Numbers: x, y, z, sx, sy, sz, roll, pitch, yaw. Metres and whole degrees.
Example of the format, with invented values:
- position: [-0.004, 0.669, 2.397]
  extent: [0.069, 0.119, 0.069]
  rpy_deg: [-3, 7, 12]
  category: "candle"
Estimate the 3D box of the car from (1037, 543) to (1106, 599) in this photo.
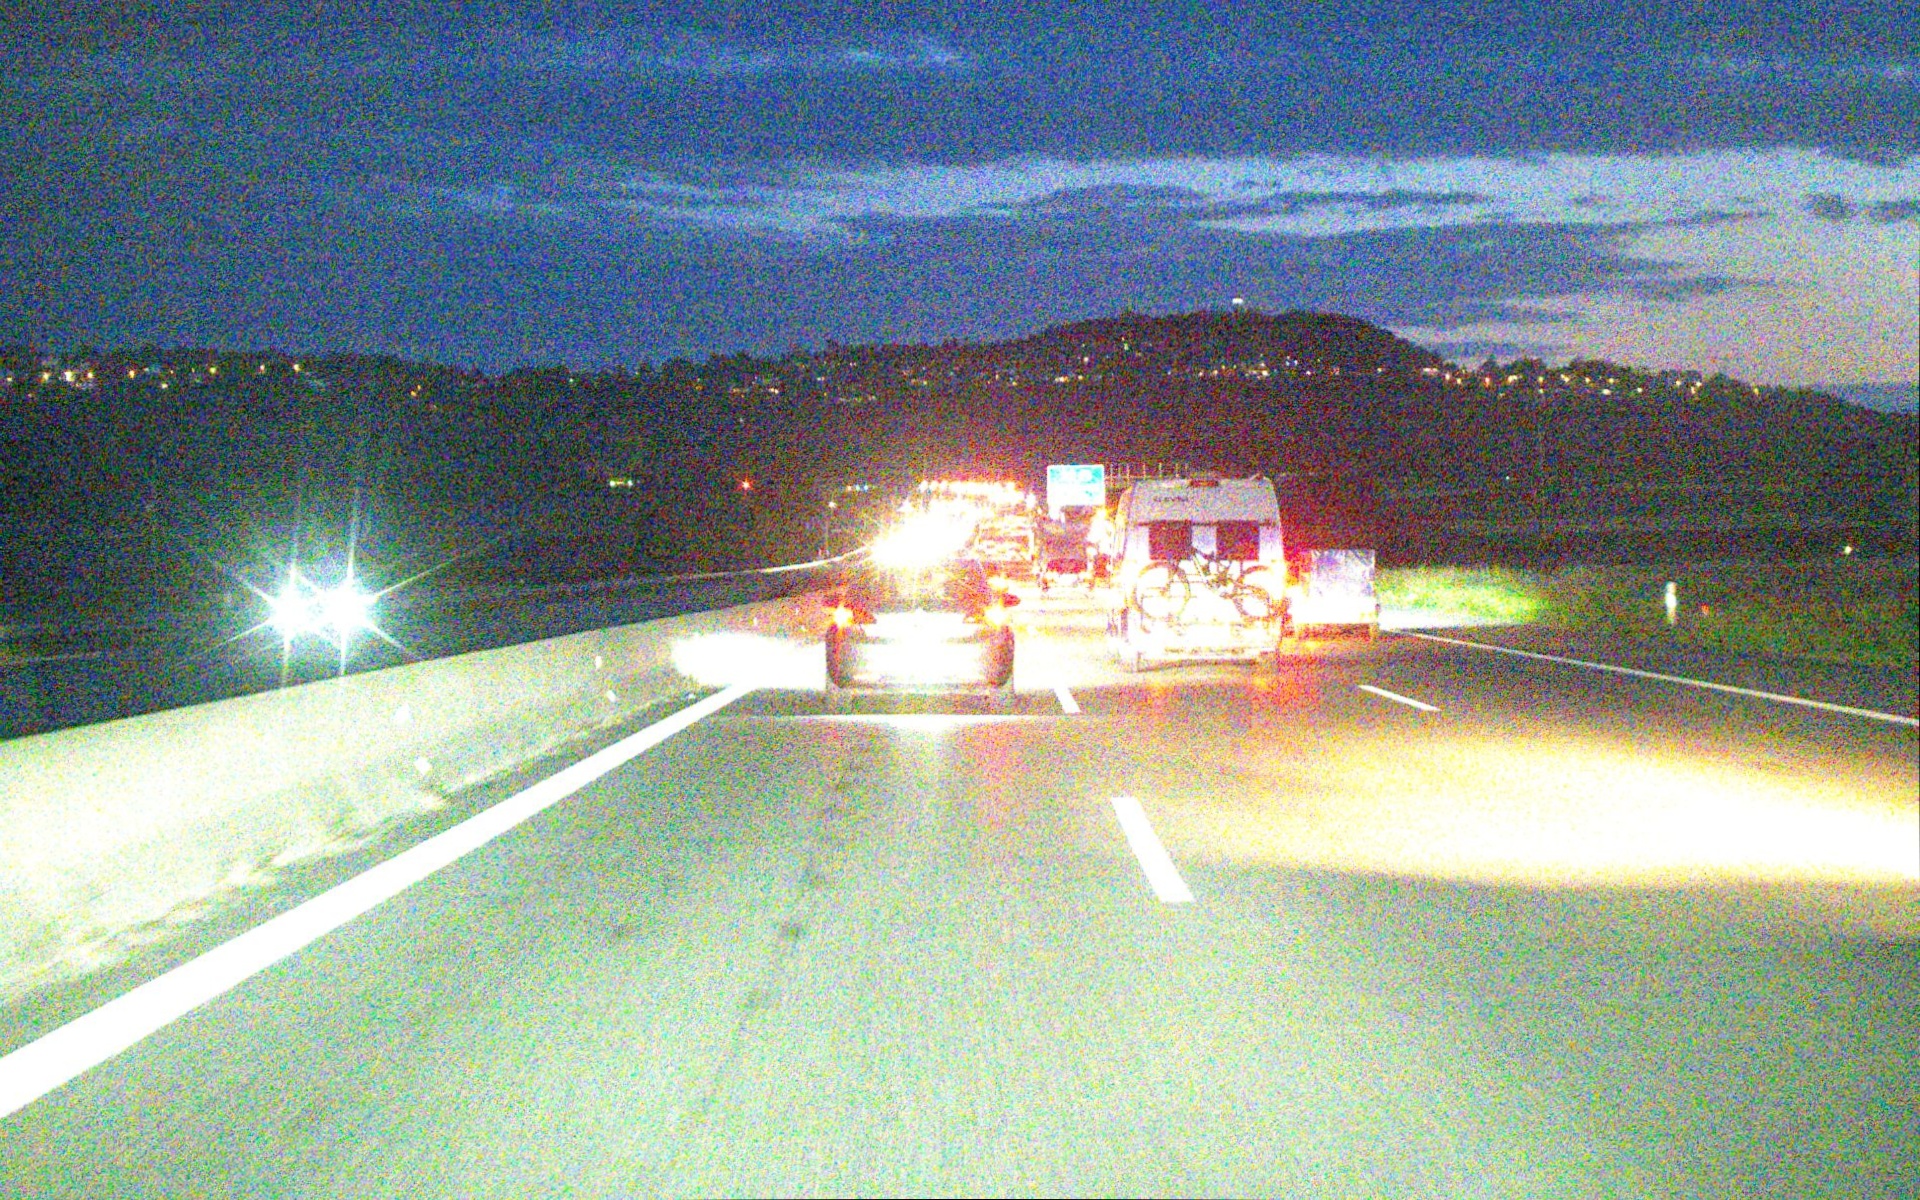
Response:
- position: [3.927, -1.037, 121.734]
  extent: [2.351, 1.907, 4.723]
  rpy_deg: [-1, 1, 1]
  category: "car"

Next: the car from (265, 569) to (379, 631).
- position: [-16.152, -0.017, 87.255]
  extent: [1.993, 1.414, 4.983]
  rpy_deg: [-3, 1, -1]
  category: "car"

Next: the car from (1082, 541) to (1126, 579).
- position: [8.187, -2.297, 195.870]
  extent: [2.351, 2.068, 4.723]
  rpy_deg: [-1, 1, 1]
  category: "car"

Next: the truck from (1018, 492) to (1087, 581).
- position: [4.222, -2.920, 158.165]
  extent: [2.781, 3.942, 7.993]
  rpy_deg: [-1, 1, -1]
  category: "truck"

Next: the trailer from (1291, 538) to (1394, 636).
- position: [6.767, -0.246, 60.979]
  extent: [1.566, 1.687, 2.821]
  rpy_deg: [-1, 1, 2]
  category: "trailer"

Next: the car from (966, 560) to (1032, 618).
- position: [1.080, -0.315, 93.703]
  extent: [1.745, 1.435, 4.367]
  rpy_deg: [-1, 1, 1]
  category: "car"

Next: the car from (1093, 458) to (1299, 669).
- position: [2.994, -0.509, 44.872]
  extent: [2.351, 2.526, 5.701]
  rpy_deg: [-1, 1, 1]
  category: "car"

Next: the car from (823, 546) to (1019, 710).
- position: [-0.330, 0.229, 33.367]
  extent: [1.793, 1.464, 3.773]
  rpy_deg: [0, 1, 1]
  category: "car"

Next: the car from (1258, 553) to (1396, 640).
- position: [6.847, -0.098, 64.655]
  extent: [2.163, 1.558, 4.723]
  rpy_deg: [0, 1, 1]
  category: "car"
